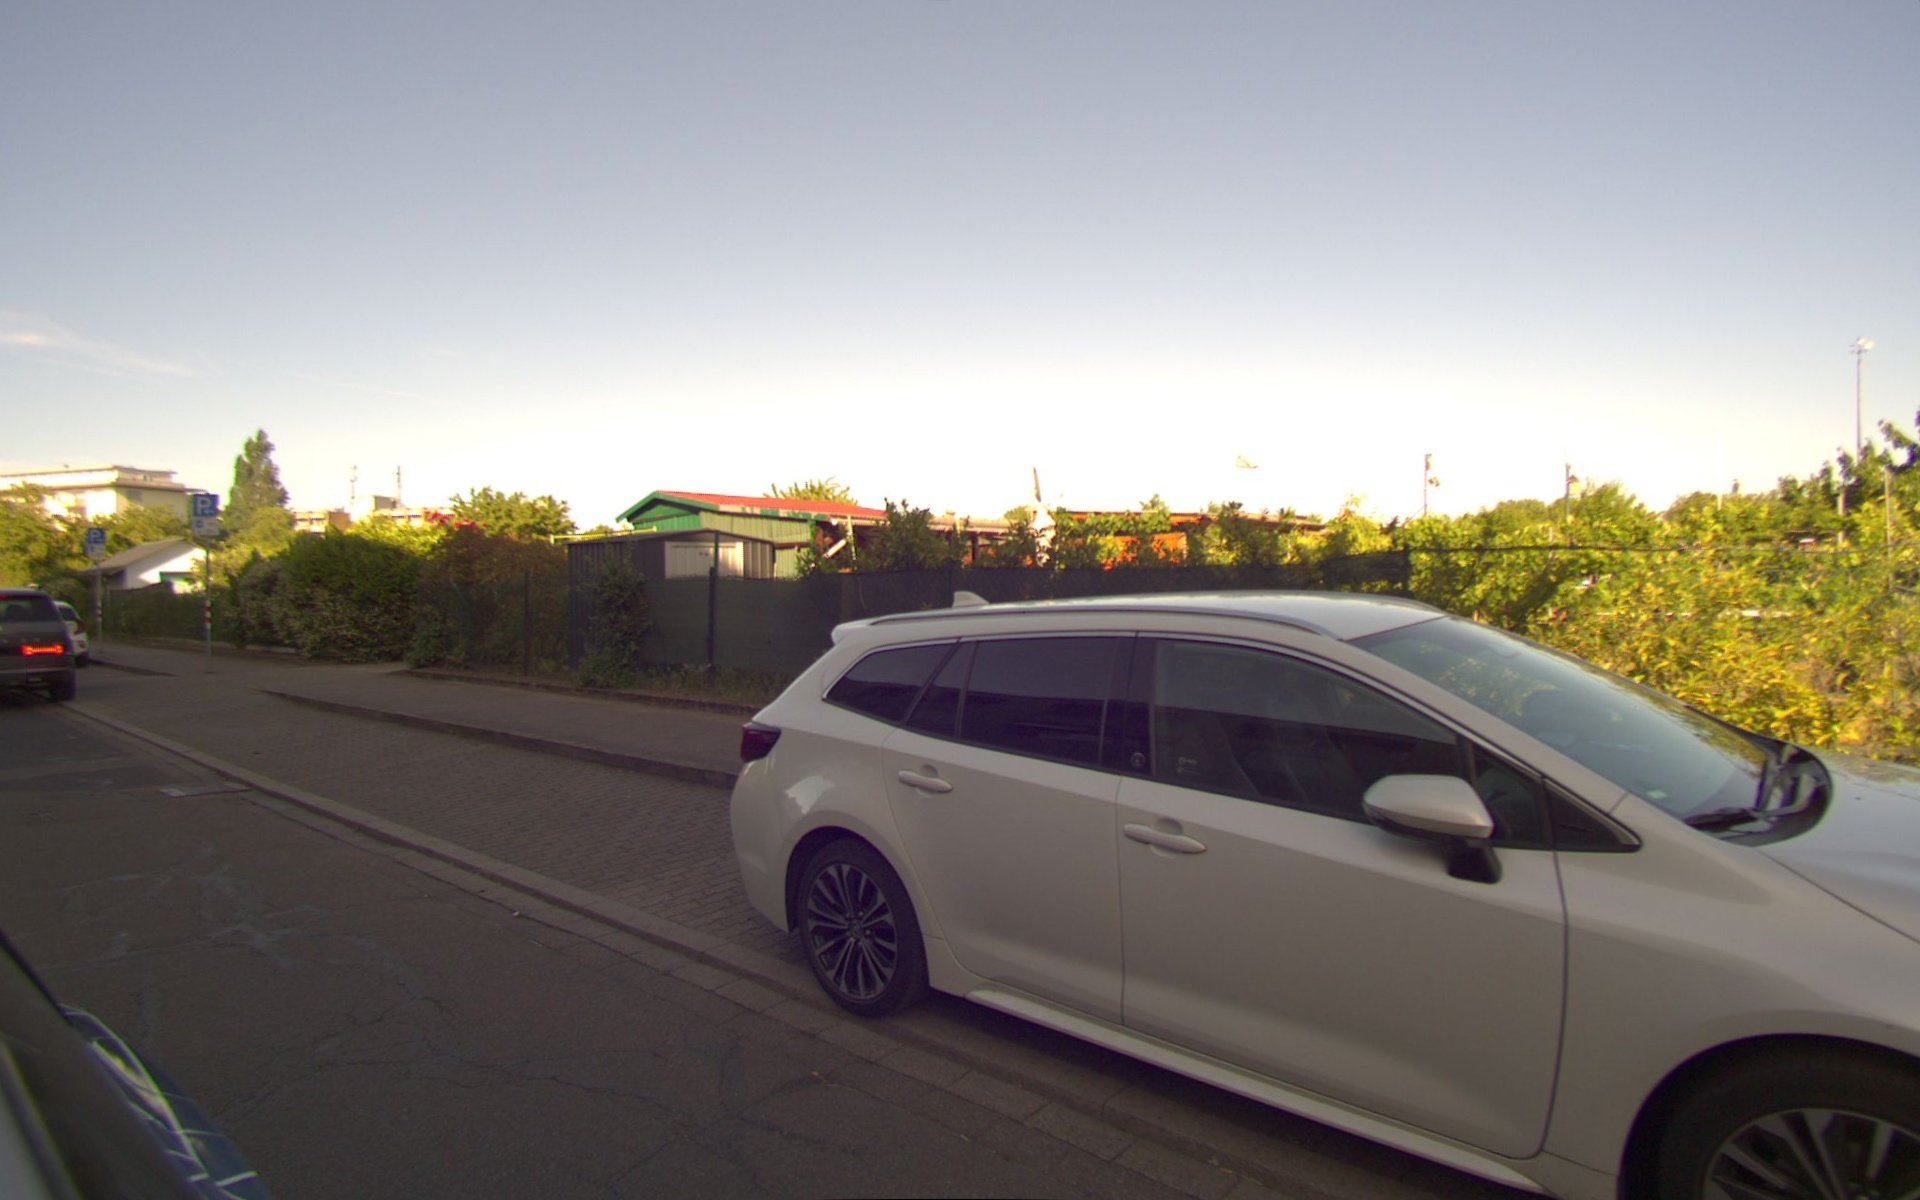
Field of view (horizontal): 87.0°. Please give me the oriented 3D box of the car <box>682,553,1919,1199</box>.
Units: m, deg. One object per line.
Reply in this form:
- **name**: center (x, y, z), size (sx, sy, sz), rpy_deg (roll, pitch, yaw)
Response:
- **car**: center (1.197, 0.664, 3.181), size (4.539, 1.456, 1.729), rpy_deg (-1, 3, 41)

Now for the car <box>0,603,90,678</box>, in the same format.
- **car**: center (-20.727, 0.852, 22.566), size (3.399, 1.499, 1.512), rpy_deg (-1, 1, 41)

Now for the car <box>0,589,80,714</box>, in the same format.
- **car**: center (-15.200, 0.745, 15.596), size (4.838, 1.740, 1.921), rpy_deg (-1, -2, 42)
